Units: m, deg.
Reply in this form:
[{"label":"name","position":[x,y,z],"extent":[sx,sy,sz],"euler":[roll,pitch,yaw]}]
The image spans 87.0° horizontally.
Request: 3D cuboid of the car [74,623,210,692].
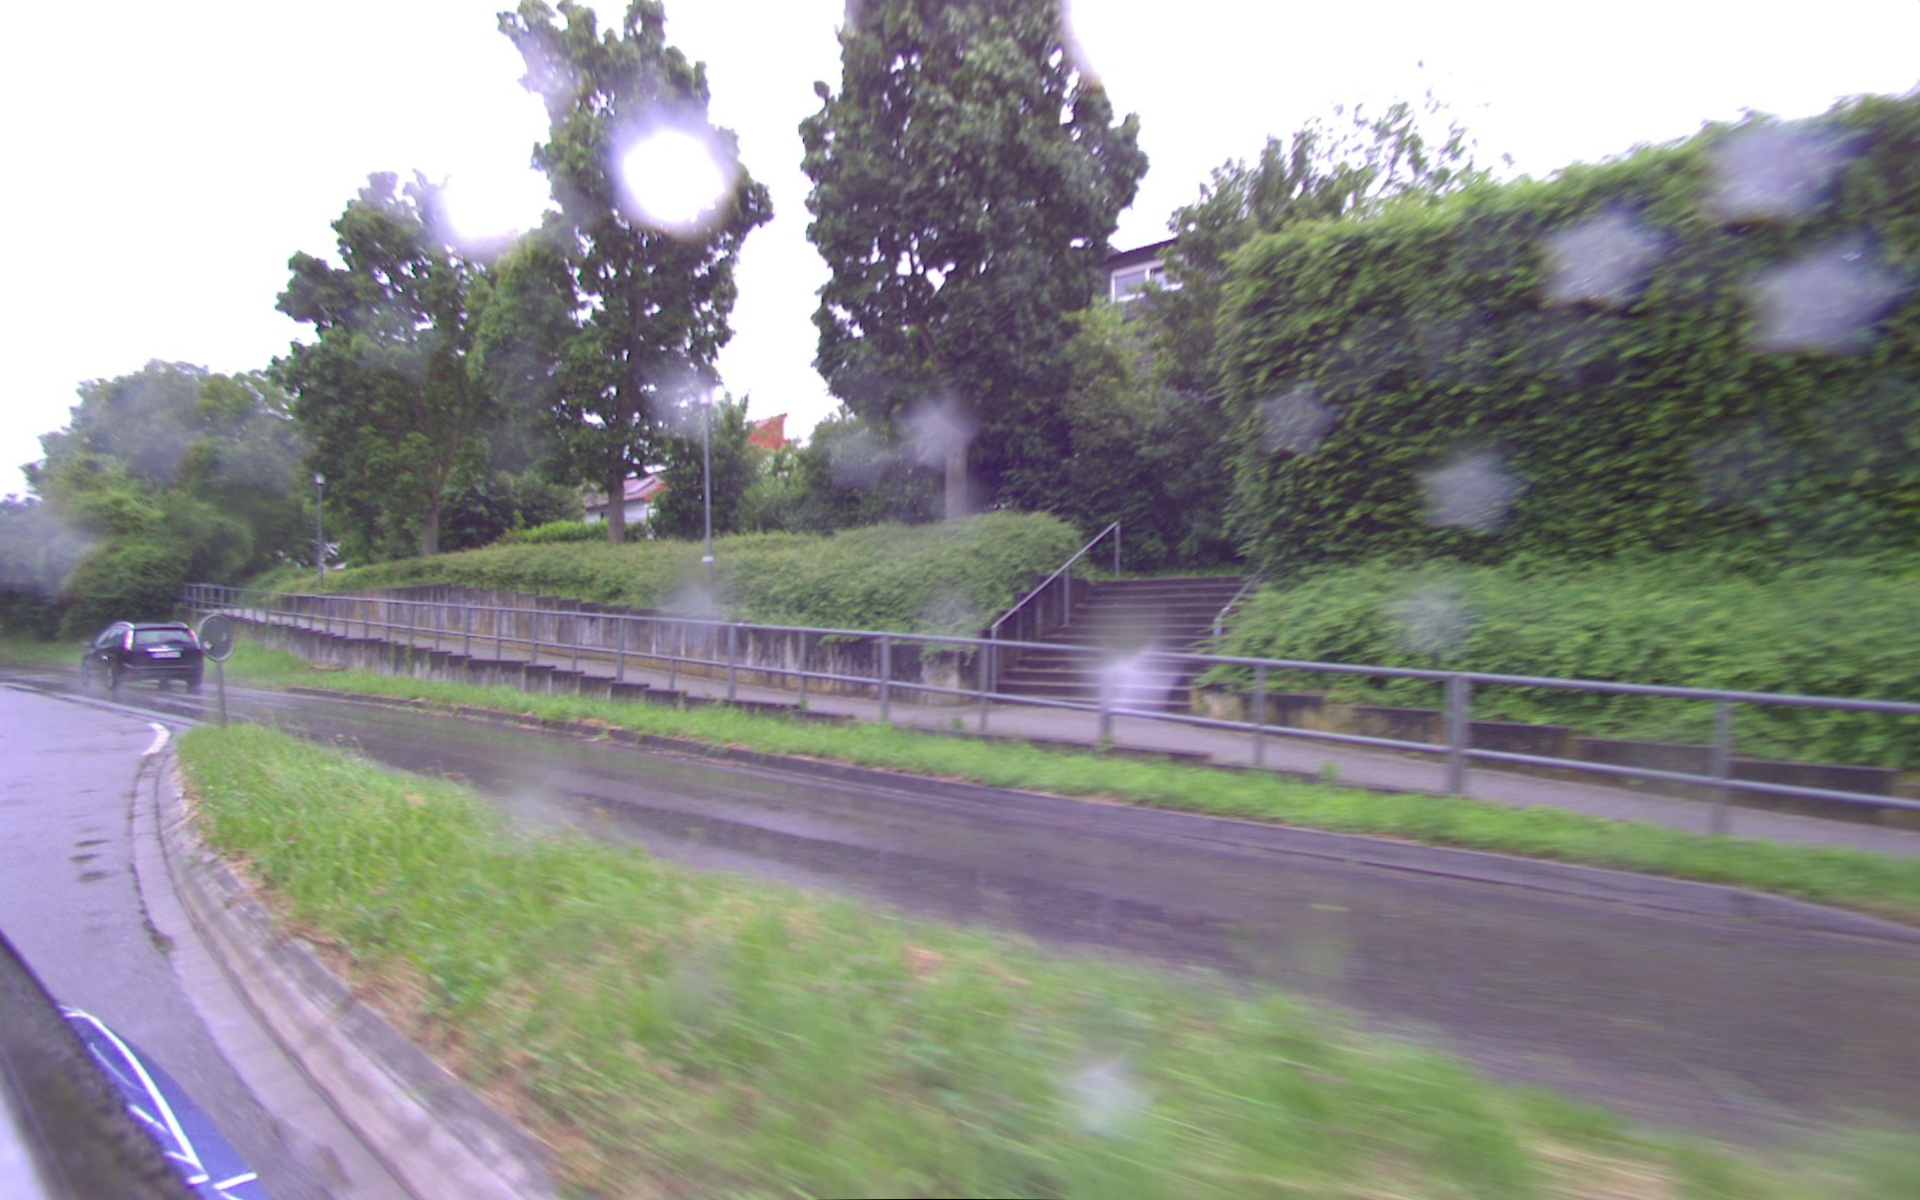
[{"label":"car","position":[-19.663,1.346,24.264],"extent":[4.138,1.514,1.742],"euler":[-1,-3,40]}]
